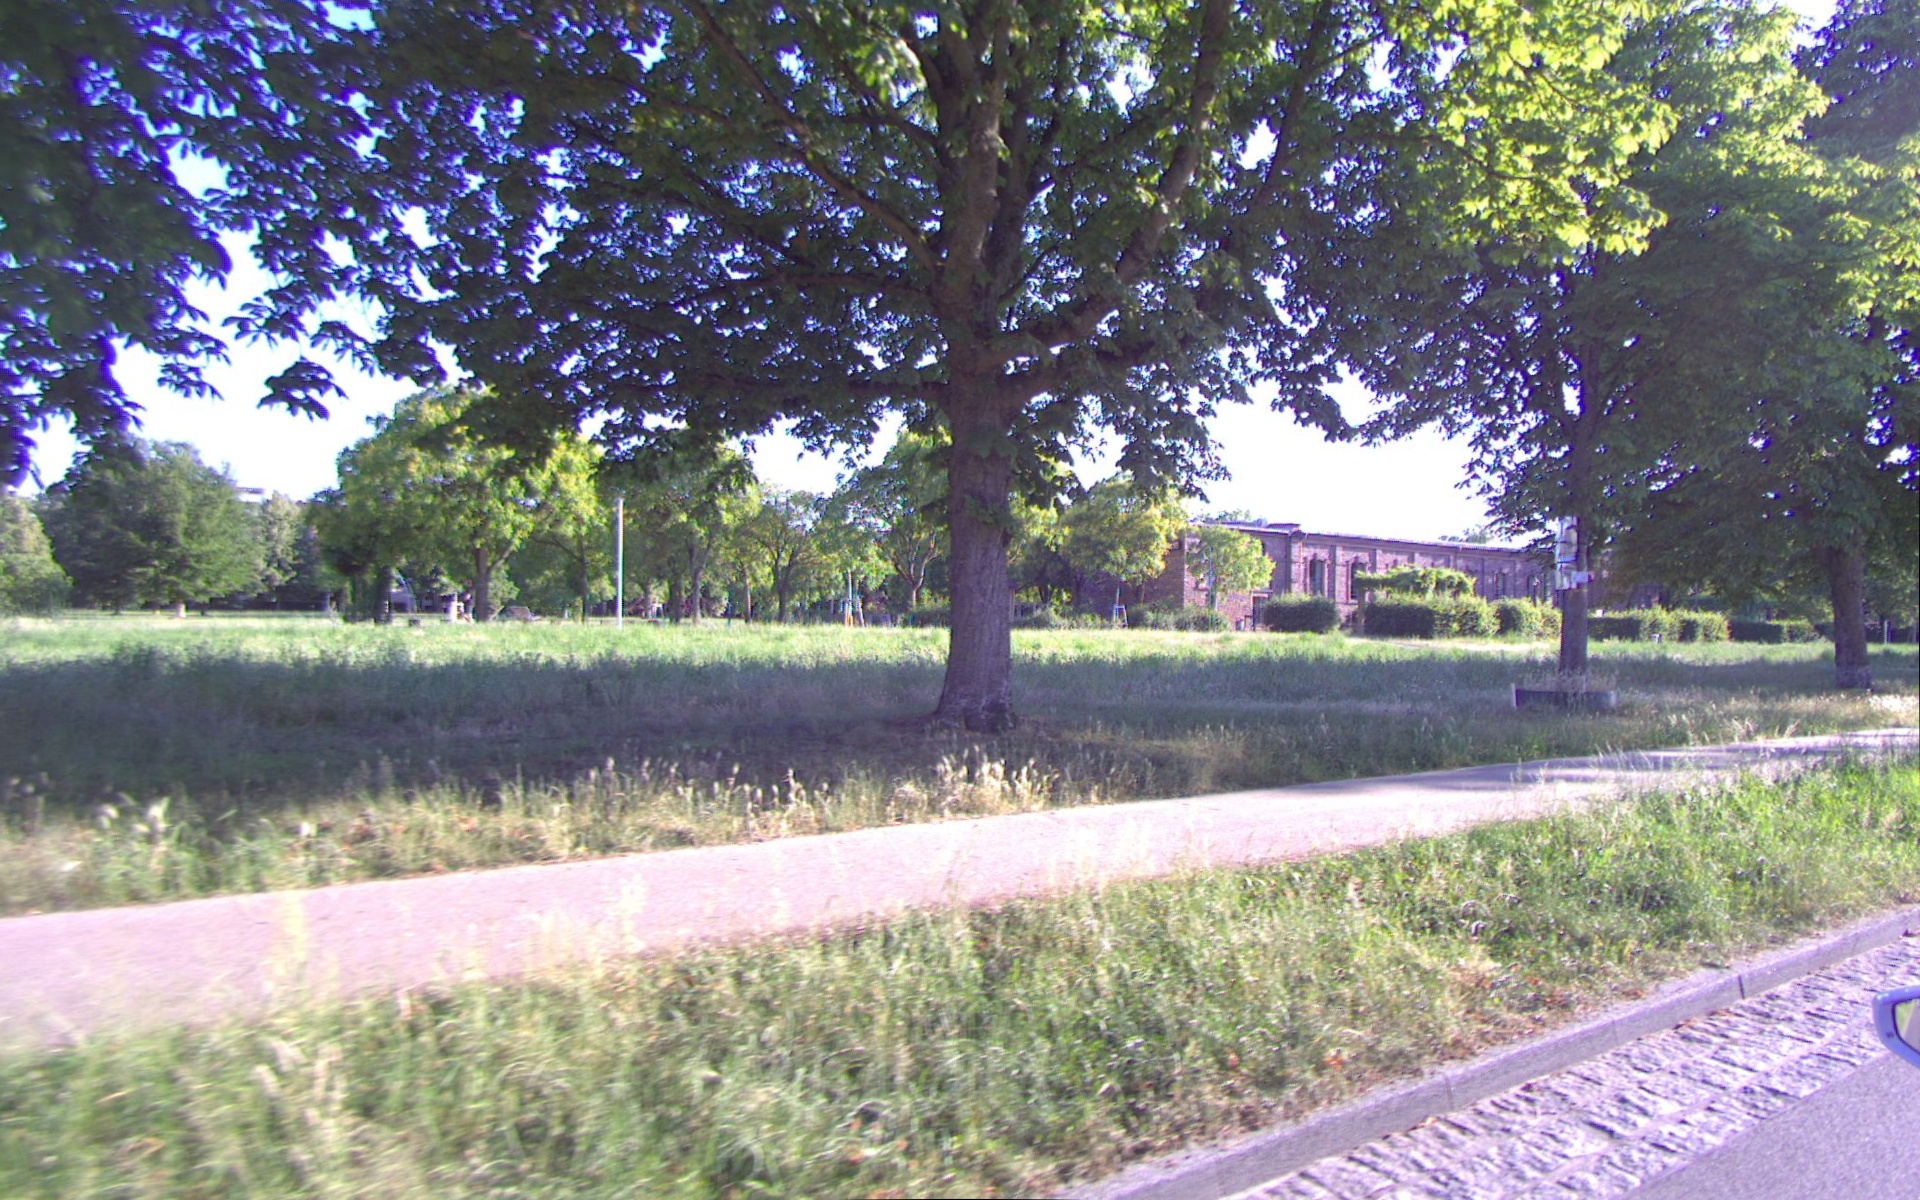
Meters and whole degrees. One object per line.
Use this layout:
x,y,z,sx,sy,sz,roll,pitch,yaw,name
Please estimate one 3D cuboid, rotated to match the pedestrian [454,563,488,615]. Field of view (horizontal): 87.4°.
-16.823,-0.375,34.560,0.764,1.747,0.714,3,0,32,pedestrian
